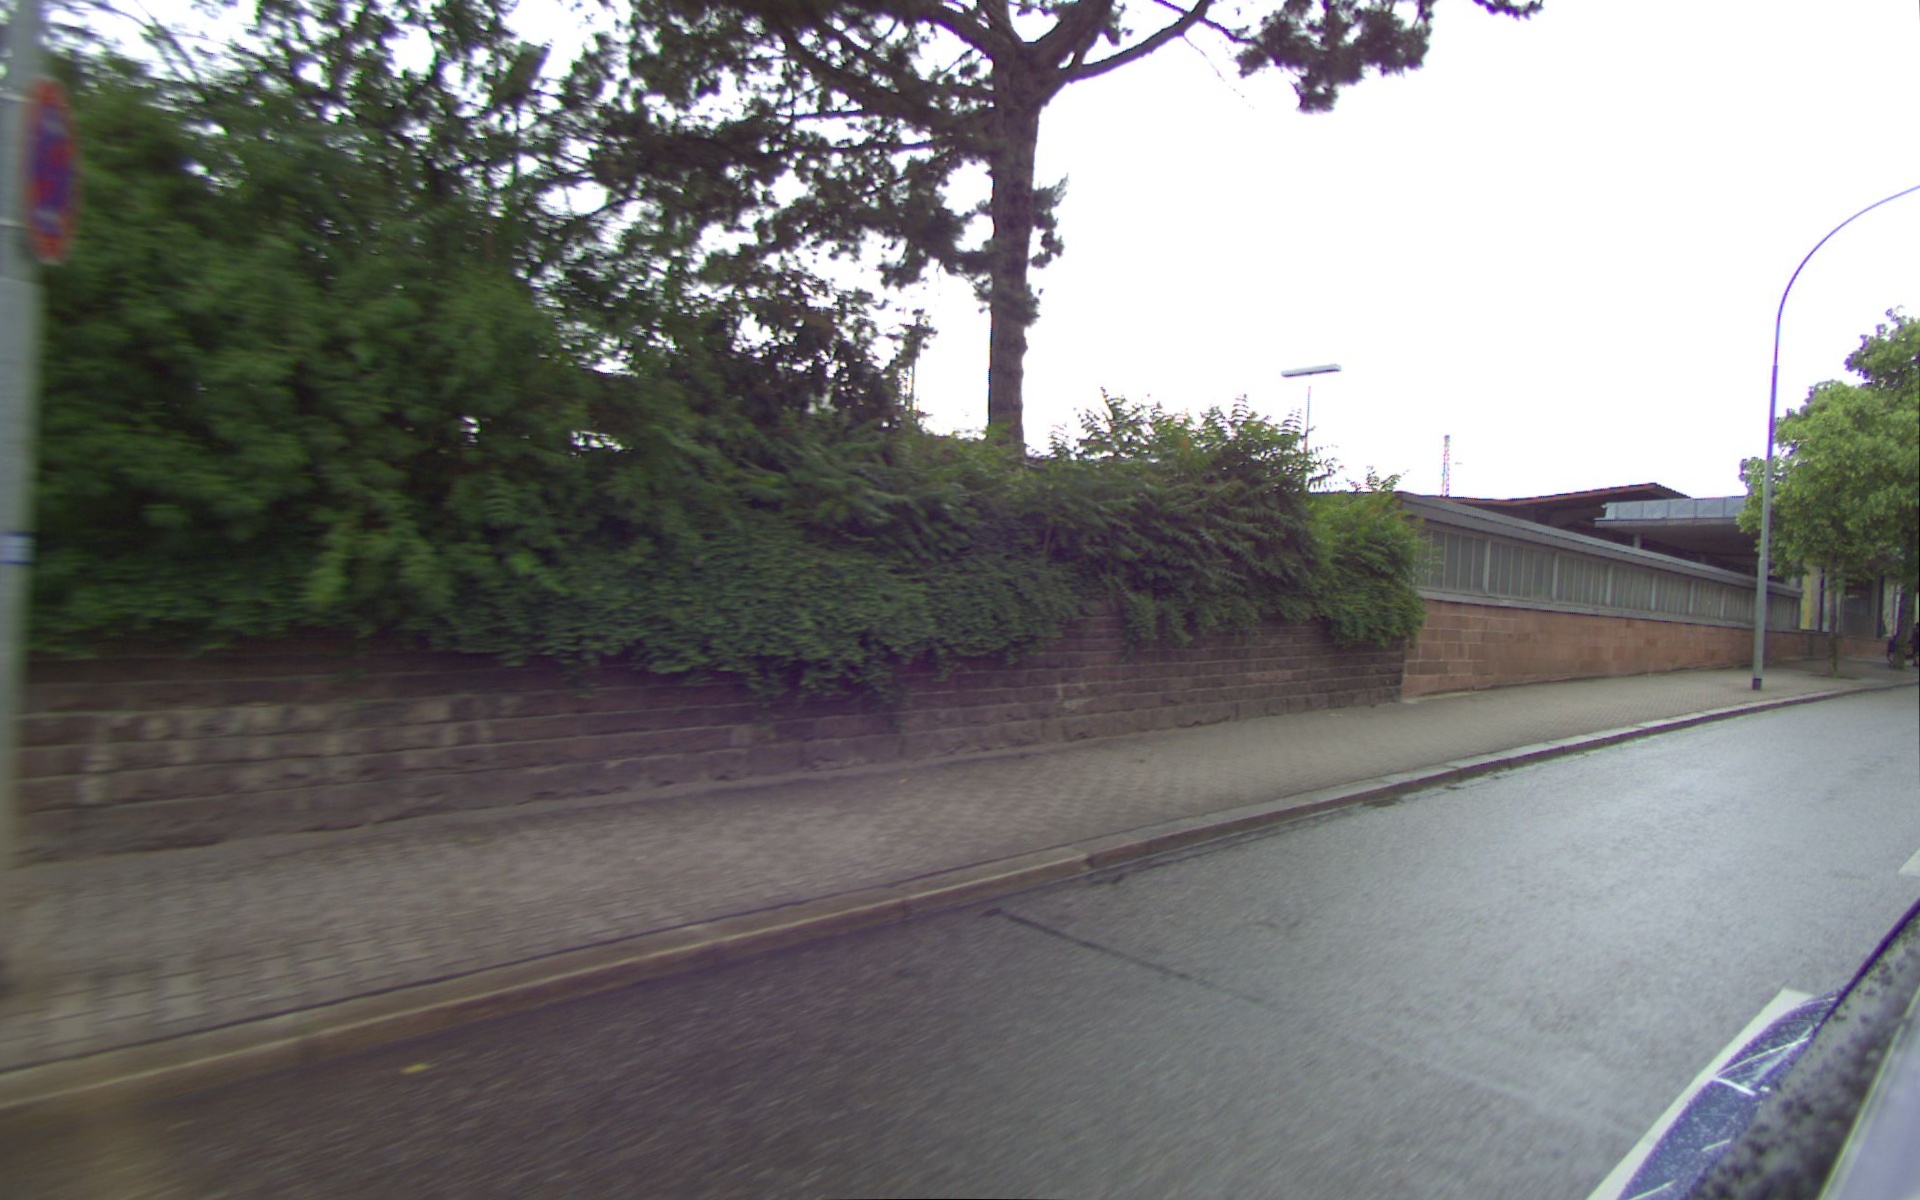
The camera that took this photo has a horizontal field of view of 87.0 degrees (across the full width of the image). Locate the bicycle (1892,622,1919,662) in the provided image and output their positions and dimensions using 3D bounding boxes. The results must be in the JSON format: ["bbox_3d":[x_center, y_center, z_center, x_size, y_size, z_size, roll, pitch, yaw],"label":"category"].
[{"bbox_3d":[32.523,1.453,34.022,0.476,1.264,1.729,4,2,-8],"label":"bicycle"}]
